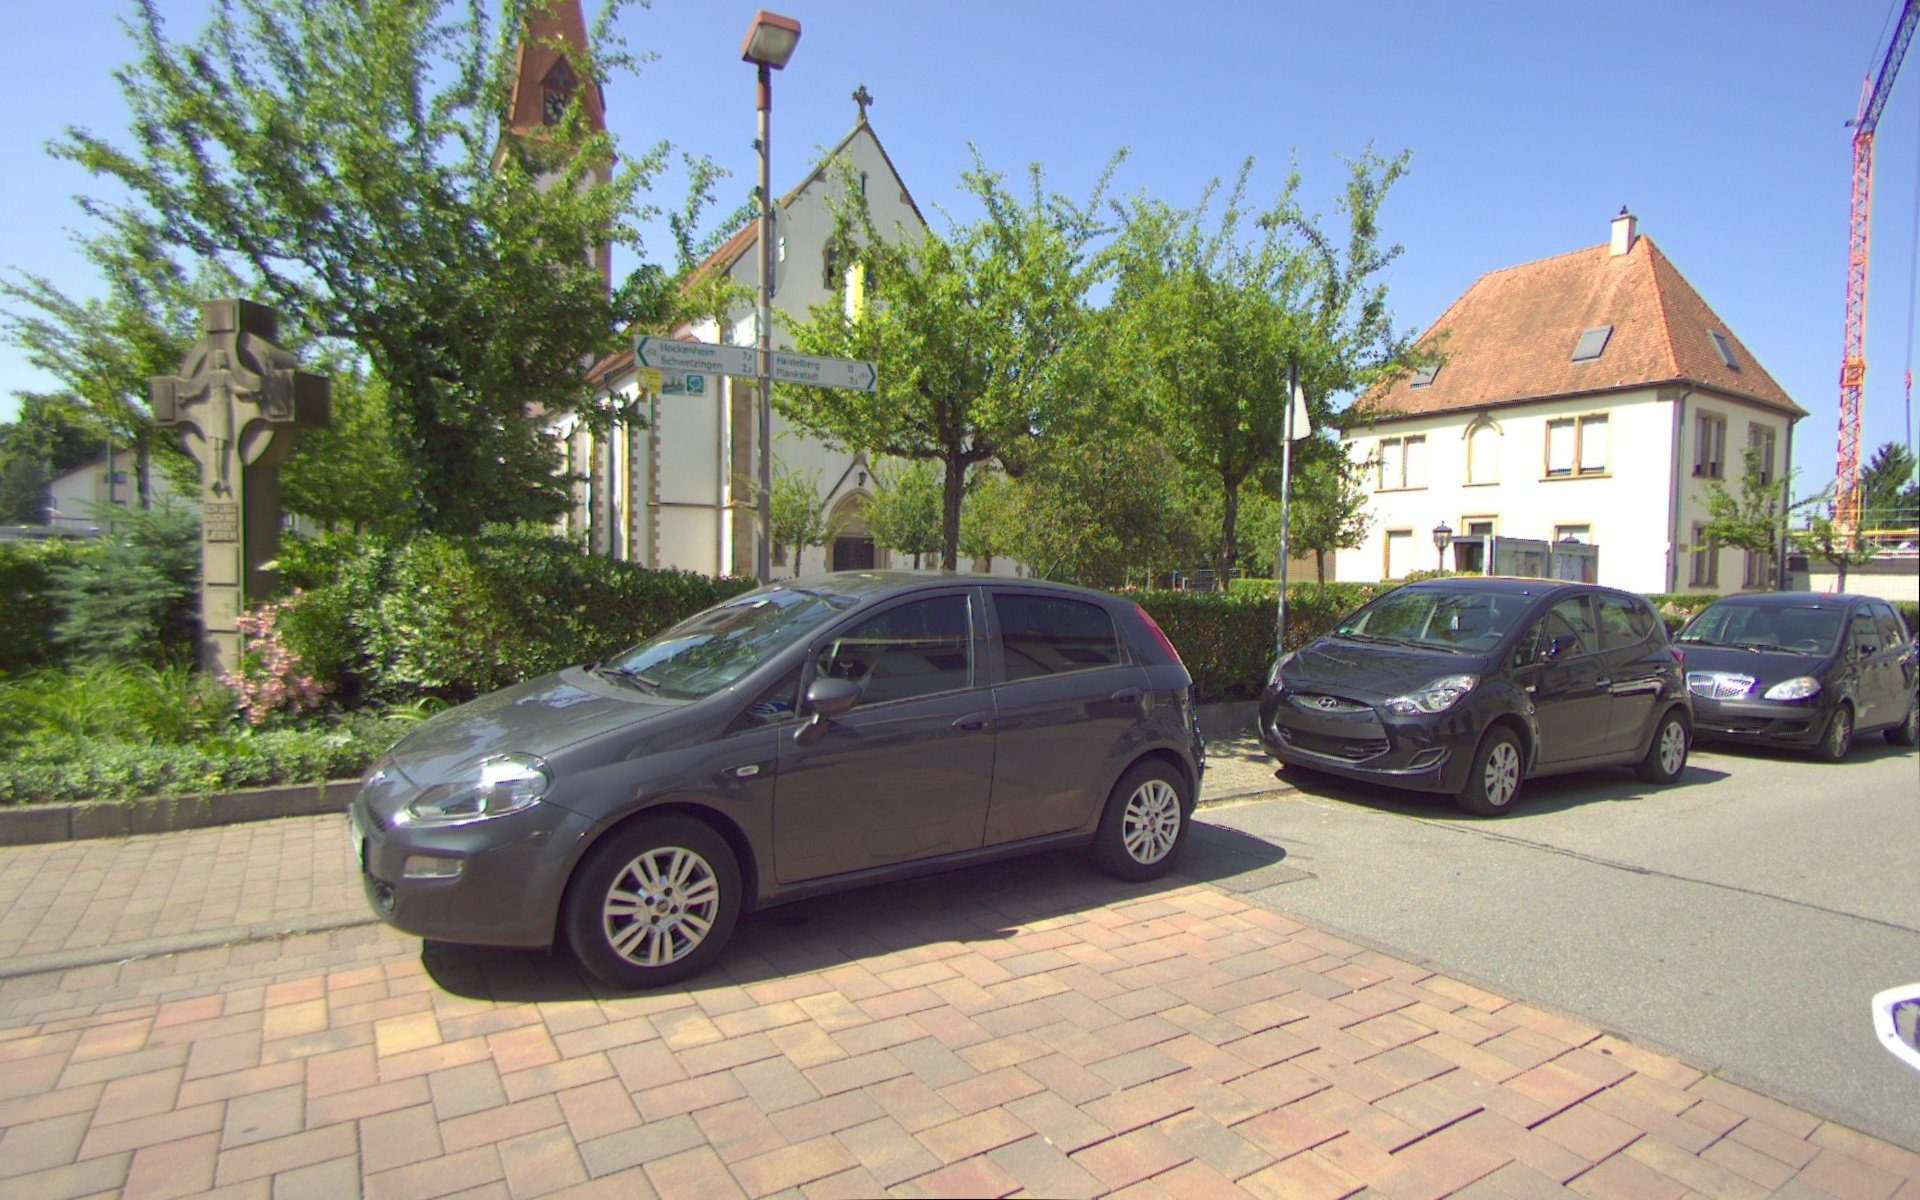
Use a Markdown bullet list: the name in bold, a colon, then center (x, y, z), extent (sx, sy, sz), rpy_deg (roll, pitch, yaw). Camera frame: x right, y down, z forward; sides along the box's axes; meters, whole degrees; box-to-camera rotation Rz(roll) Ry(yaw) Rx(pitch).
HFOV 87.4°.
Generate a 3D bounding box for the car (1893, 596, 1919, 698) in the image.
- **car**: center (17.661, 0.799, 17.061), extent (4.175, 1.652, 1.814), rpy_deg (0, 2, -35)

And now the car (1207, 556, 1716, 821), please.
- **car**: center (4.066, 0.532, 8.000), extent (3.980, 1.626, 1.805), rpy_deg (0, 2, -32)

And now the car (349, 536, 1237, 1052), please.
- **car**: center (-0.594, 0.553, 4.769), extent (3.821, 1.517, 1.690), rpy_deg (0, 2, -37)

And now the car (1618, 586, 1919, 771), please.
- **car**: center (8.857, 0.706, 10.822), extent (3.729, 1.651, 1.627), rpy_deg (0, 2, -34)
